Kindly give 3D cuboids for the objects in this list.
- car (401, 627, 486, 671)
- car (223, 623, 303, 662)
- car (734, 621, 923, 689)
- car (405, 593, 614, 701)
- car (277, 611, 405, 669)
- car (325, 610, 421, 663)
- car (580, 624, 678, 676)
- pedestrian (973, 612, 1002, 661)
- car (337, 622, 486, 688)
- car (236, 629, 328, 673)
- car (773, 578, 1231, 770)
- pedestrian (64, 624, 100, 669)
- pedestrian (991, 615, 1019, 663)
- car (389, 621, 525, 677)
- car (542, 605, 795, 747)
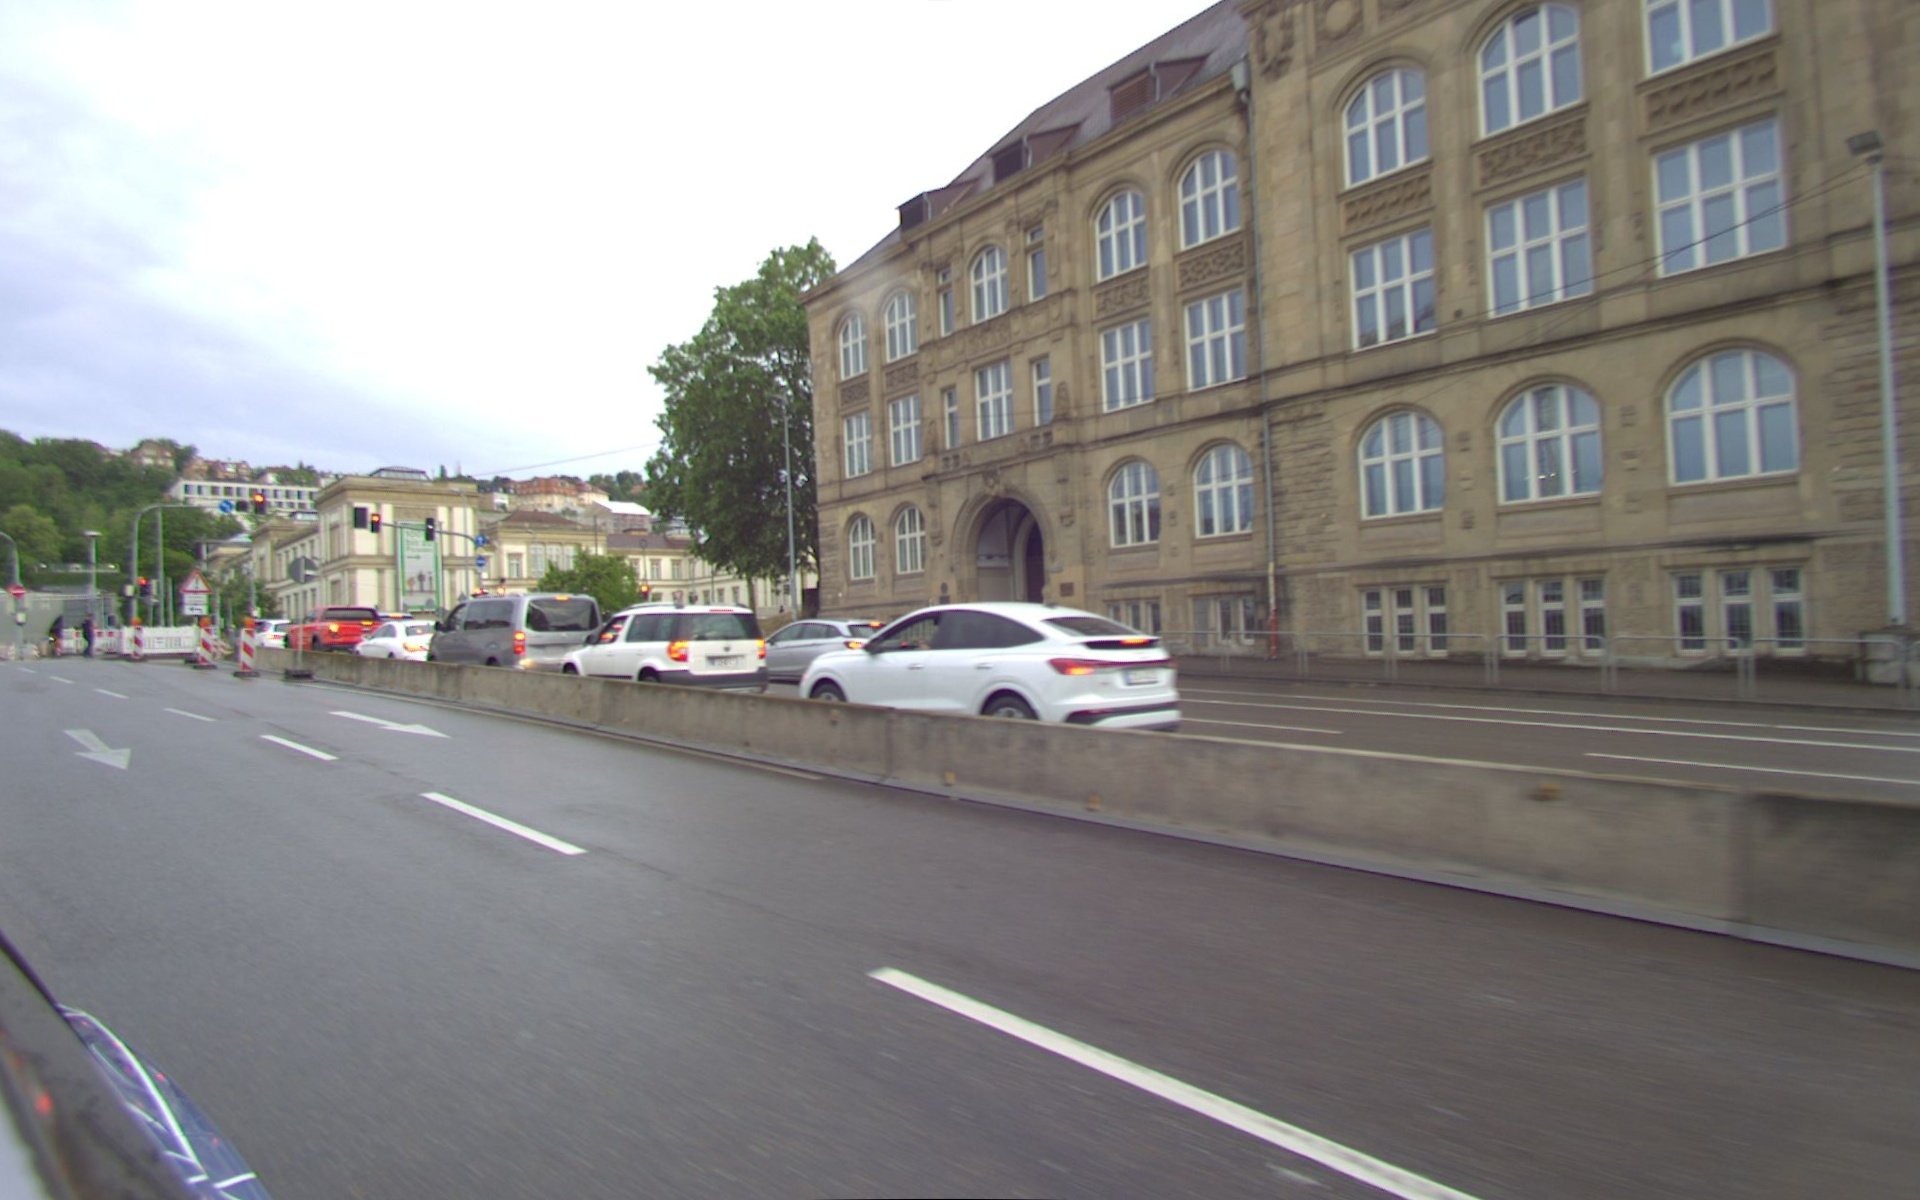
[{"bbox_3d":[-22.102,2.055,43.274,3.995,1.824,1.762,-1,-2,39],"label":"car"},{"bbox_3d":[-28.171,1.684,40.853,1.970,1.482,4.349,2,-2,-44],"label":"car"},{"bbox_3d":[-3.039,1.187,22.913,4.210,1.393,1.972,-2,-2,41],"label":"car"},{"bbox_3d":[-9.222,0.903,20.423,1.971,1.880,5.598,2,-2,-45],"label":"car"},{"bbox_3d":[-18.536,1.163,30.195,5.383,1.579,1.971,-2,-2,44],"label":"car"},{"bbox_3d":[-21.504,1.319,37.007,1.970,1.808,4.618,2,-2,-44],"label":"car"},{"bbox_3d":[-13.624,2.004,41.589,3.995,2.029,1.974,-1,-2,39],"label":"car"},{"bbox_3d":[0.892,1.202,33.300,0.609,1.596,0.735,2,-3,-43],"label":"pedestrian"},{"bbox_3d":[-14.016,1.333,25.740,4.823,1.513,1.971,-2,-2,44],"label":"car"},{"bbox_3d":[-24.643,1.802,36.711,1.970,1.482,4.564,2,-2,-44],"label":"car"},{"bbox_3d":[0.199,0.677,10.737,1.872,1.579,4.901,2,-2,-45],"label":"car"},{"bbox_3d":[-34.152,1.787,39.383,0.757,1.723,0.778,-1,-2,23],"label":"pedestrian"},{"bbox_3d":[1.498,1.298,33.921,0.734,1.596,0.610,-2,-2,40],"label":"pedestrian"},{"bbox_3d":[-16.070,1.528,32.277,4.605,1.660,1.976,-1,-2,36],"label":"car"},{"bbox_3d":[-4.616,1.074,15.666,1.887,1.880,4.381,2,-2,-45],"label":"car"}]
